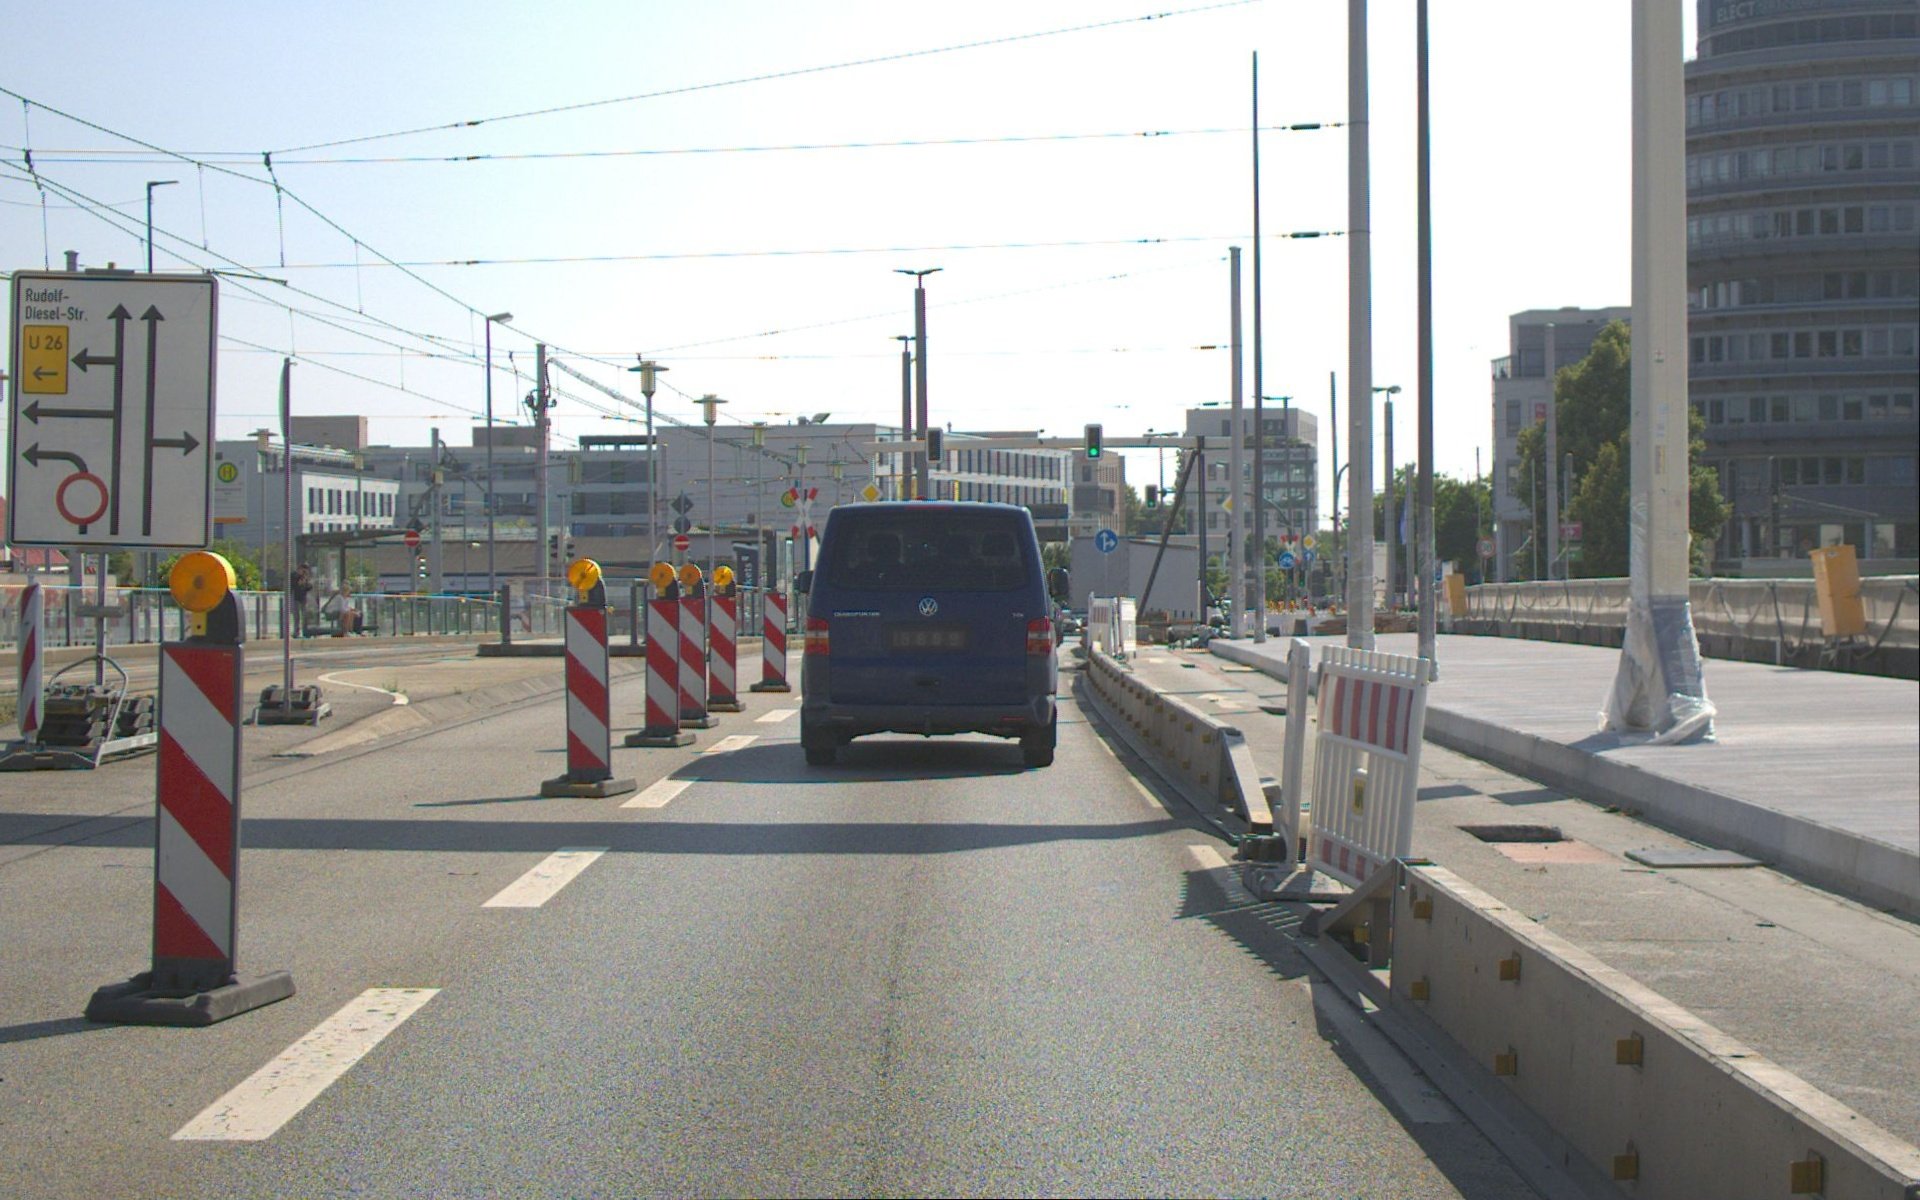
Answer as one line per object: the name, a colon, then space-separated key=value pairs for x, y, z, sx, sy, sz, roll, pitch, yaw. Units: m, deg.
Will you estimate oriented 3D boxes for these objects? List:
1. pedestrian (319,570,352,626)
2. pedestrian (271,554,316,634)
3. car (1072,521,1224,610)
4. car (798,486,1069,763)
pedestrian: x=-14.223 y=-0.038 z=78.288 sx=0.648 sy=1.269 sz=0.453 roll=0 pitch=0 yaw=5
pedestrian: x=-13.828 y=-0.122 z=71.323 sx=0.660 sy=1.649 sz=0.739 roll=0 pitch=1 yaw=13
car: x=6.394 y=-1.172 z=116.001 sx=2.343 sy=2.877 sz=5.958 roll=2 pitch=1 yaw=34
car: x=-0.237 y=0.139 z=26.462 sx=1.888 sy=1.927 sz=4.000 roll=1 pitch=1 yaw=-1
